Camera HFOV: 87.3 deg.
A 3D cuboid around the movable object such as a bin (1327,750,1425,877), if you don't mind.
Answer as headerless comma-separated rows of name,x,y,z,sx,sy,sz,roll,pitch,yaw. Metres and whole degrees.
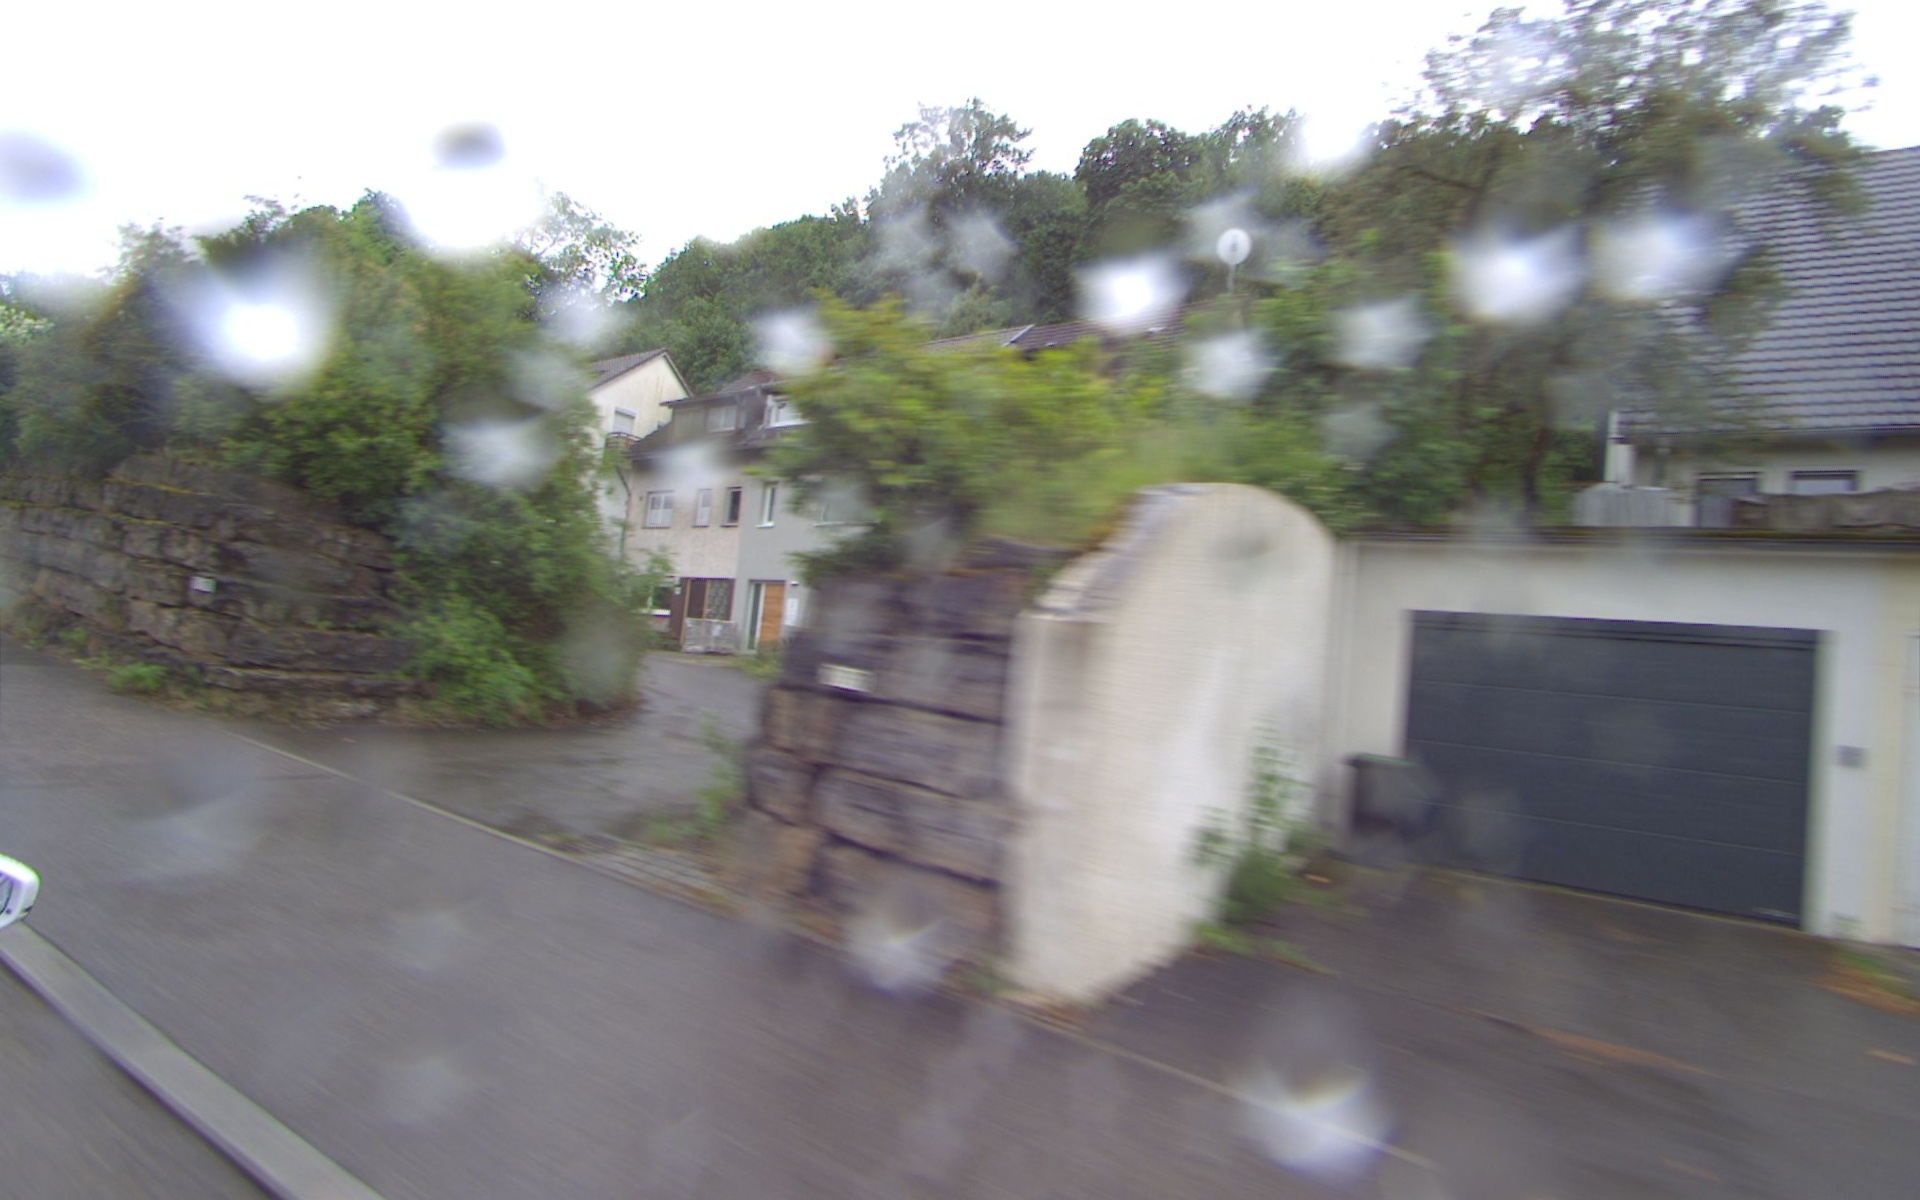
movable object such as a bin,3.566,1.798,8.605,0.639,0.902,0.637,7,-2,27
